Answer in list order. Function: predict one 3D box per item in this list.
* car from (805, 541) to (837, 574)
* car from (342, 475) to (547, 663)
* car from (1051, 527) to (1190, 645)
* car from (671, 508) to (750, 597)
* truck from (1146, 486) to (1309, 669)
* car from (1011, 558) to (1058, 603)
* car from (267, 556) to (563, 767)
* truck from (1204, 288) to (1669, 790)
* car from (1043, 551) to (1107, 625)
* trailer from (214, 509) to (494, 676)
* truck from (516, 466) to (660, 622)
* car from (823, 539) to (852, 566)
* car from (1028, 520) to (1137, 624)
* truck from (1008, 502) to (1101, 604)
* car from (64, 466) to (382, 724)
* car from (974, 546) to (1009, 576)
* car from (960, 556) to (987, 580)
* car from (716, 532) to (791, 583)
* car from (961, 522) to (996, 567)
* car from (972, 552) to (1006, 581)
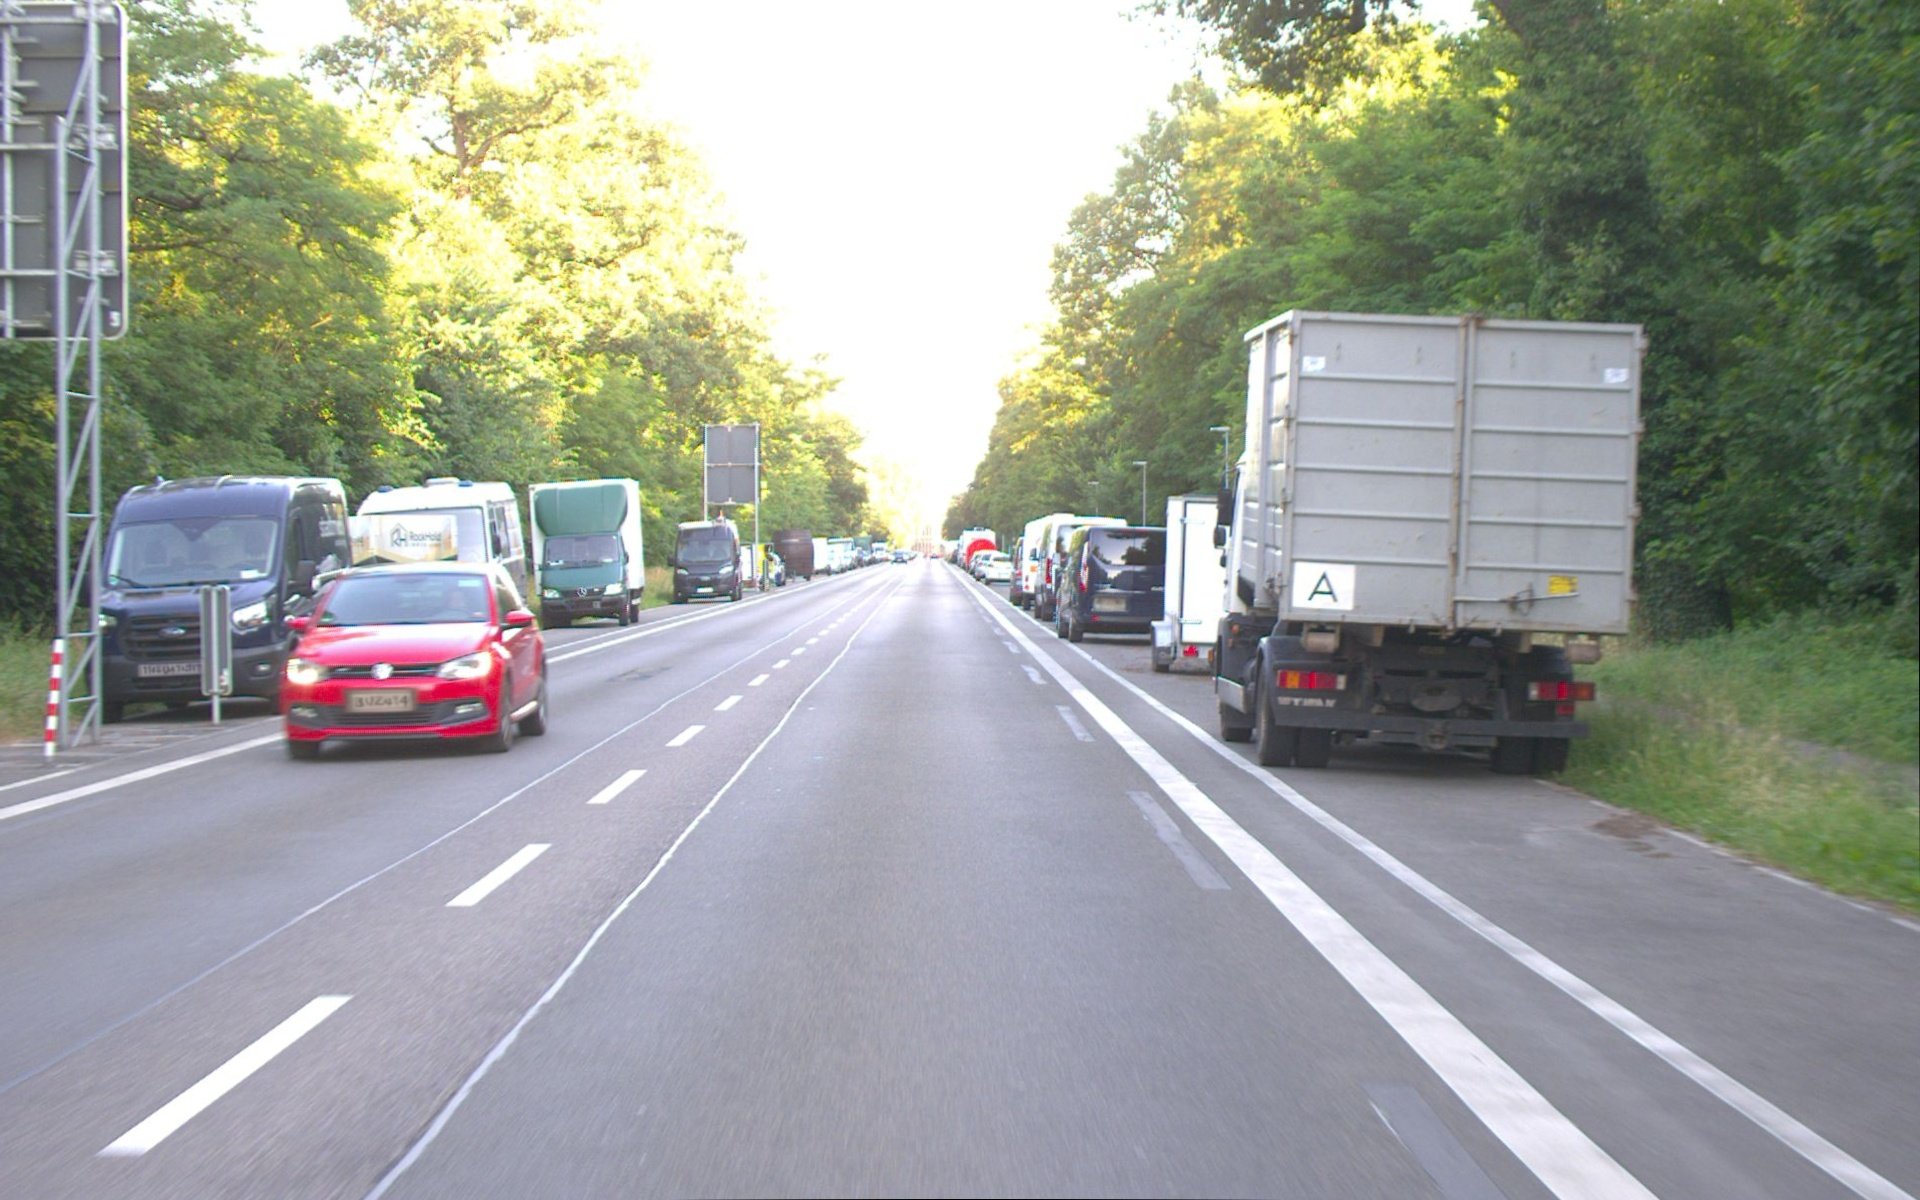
[{"bbox_3d":[-8.906,-2.740,220.052,1.993,2.007,4.000,-1,0,-3],"label":"car"},{"bbox_3d":[-7.752,-0.497,52.278,2.249,2.638,5.722,-1,1,-1],"label":"car"},{"bbox_3d":[2.758,-0.262,59.925,1.993,1.948,4.300,1,1,-3],"label":"car"},{"bbox_3d":[-8.137,-1.563,112.495,2.186,2.779,5.334,-1,1,-1],"label":"car"},{"bbox_3d":[3.483,-0.312,45.423,1.885,2.276,4.300,1,1,1],"label":"truck"},{"bbox_3d":[2.133,-0.562,98.339,1.147,1.247,2.754,1,1,-3],"label":"car"},{"bbox_3d":[-4.203,0.422,27.060,1.682,1.481,4.038,-1,1,0],"label":"car"},{"bbox_3d":[3.362,-0.443,26.044,2.589,3.244,7.220,1,1,1],"label":"truck"},{"bbox_3d":[2.442,-0.265,73.425,1.147,1.541,2.754,1,1,-3],"label":"car"},{"bbox_3d":[-8.177,-0.136,46.753,1.965,2.147,3.926,-1,1,21],"label":"trailer"},{"bbox_3d":[-8.349,-1.271,77.846,2.504,3.317,6.842,-1,1,-1],"label":"truck"},{"bbox_3d":[-9.189,-3.585,258.213,1.993,2.007,4.000,-1,1,1],"label":"car"},{"bbox_3d":[2.781,-0.661,79.187,2.141,2.306,4.300,1,1,-3],"label":"car"},{"bbox_3d":[2.504,-1.262,92.270,2.141,2.650,4.300,1,1,-3],"label":"truck"},{"bbox_3d":[-7.505,-0.095,35.624,1.993,2.356,5.766,-3,1,-1],"label":"car"},{"bbox_3d":[1.594,-1.975,174.748,1.645,1.481,4.000,1,1,-1],"label":"car"},{"bbox_3d":[0.861,-2.069,221.341,1.645,1.481,3.595,1,1,-1],"label":"car"},{"bbox_3d":[-8.535,-1.765,142.194,1.701,2.007,3.997,2,1,18],"label":"car"},{"bbox_3d":[1.278,-3.861,239.092,2.314,3.082,5.640,1,1,-1],"label":"car"},{"bbox_3d":[1.319,-1.524,157.164,1.427,1.218,3.412,-3,1,0],"label":"car"}]
